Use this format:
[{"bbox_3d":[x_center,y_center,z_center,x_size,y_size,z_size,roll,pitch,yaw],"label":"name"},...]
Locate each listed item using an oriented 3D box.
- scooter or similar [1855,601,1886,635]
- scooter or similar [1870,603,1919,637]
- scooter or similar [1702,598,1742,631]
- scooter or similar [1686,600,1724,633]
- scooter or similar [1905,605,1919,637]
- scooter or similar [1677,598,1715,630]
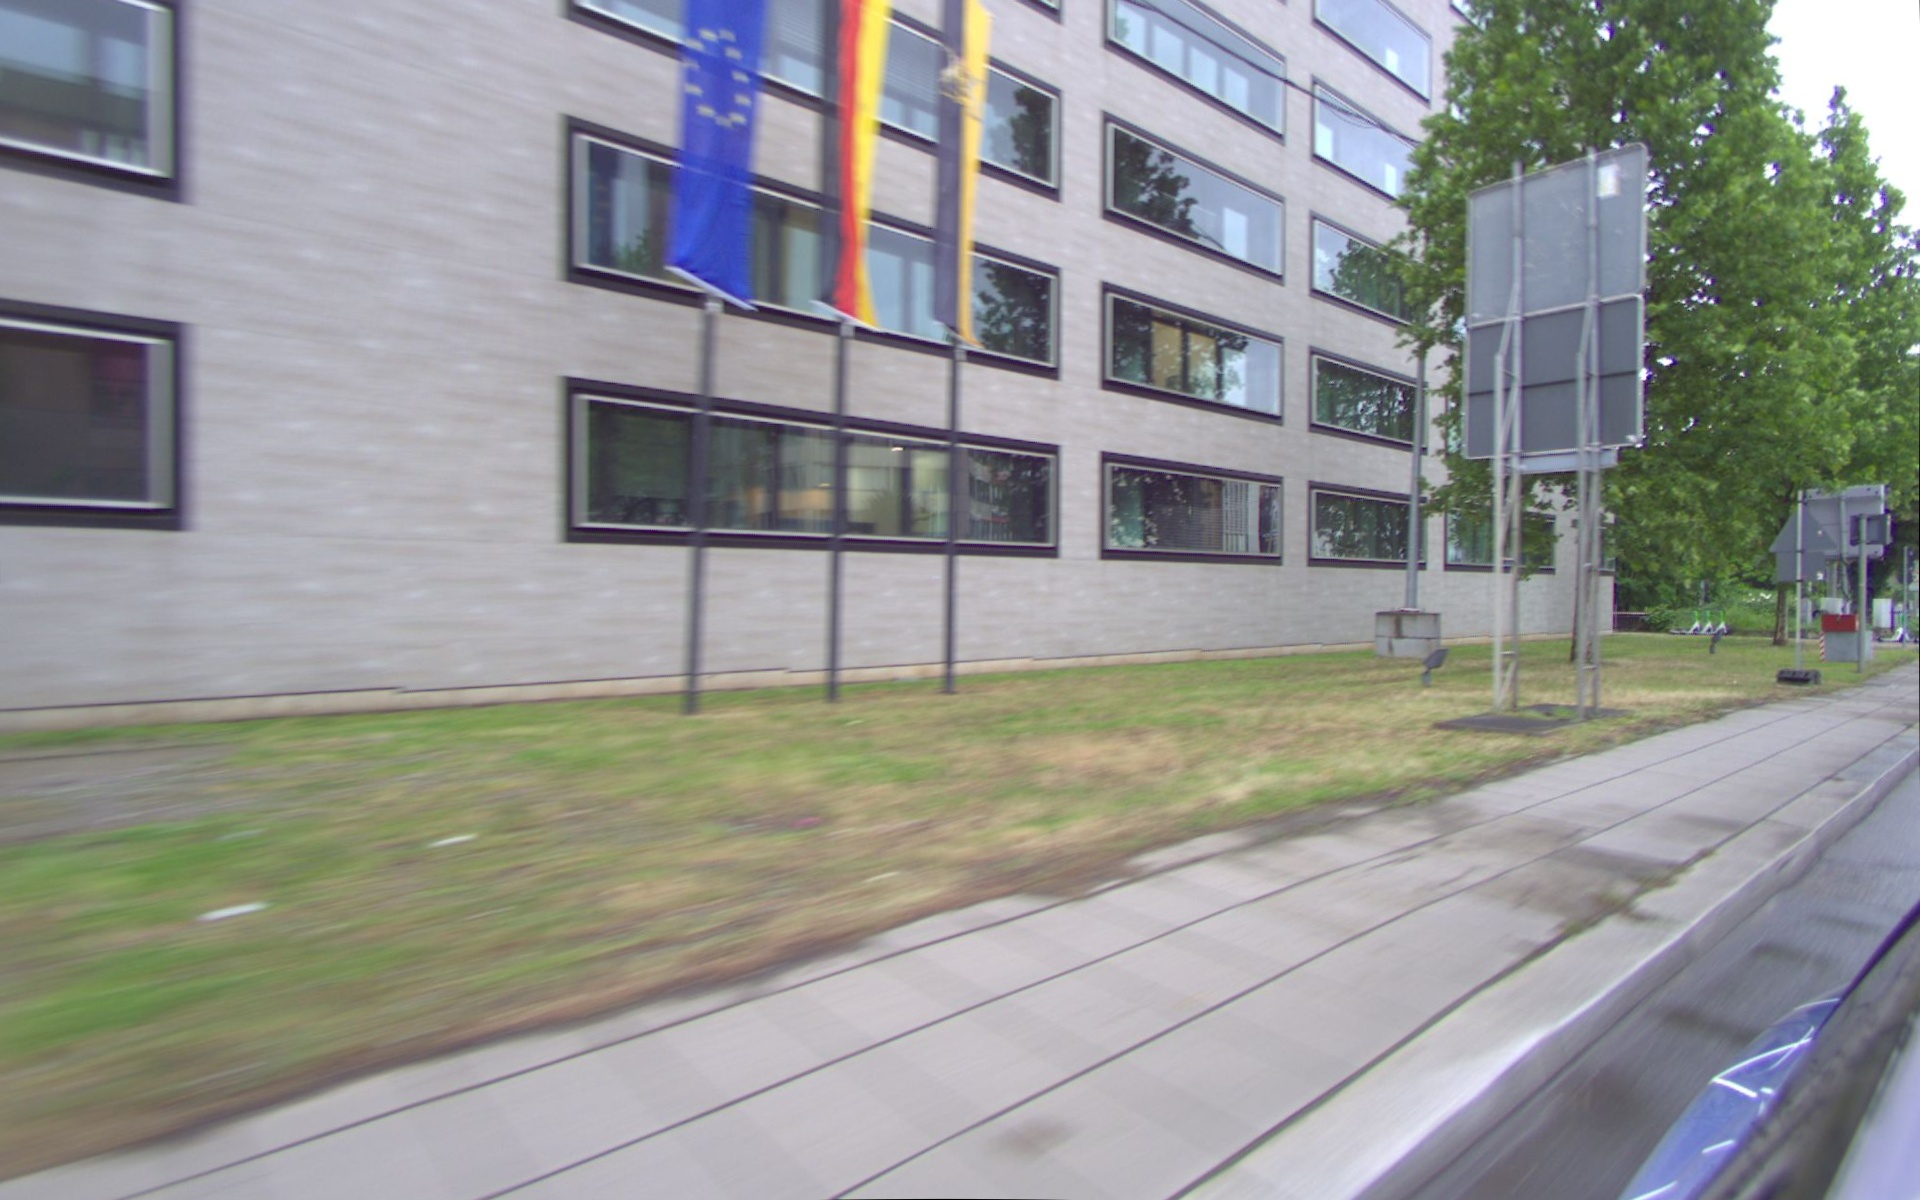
[{"bbox_3d":[33.378,0.635,37.099,1.300,1.216,0.564,0,1,-35],"label":"scooter or similar"},{"bbox_3d":[34.061,0.730,36.821,1.312,1.216,0.690,1,0,-3],"label":"scooter or similar"},{"bbox_3d":[31.264,0.592,41.528,0.545,1.329,1.238,0,1,-43],"label":"scooter or similar"},{"bbox_3d":[31.193,0.691,42.386,0.464,1.329,1.238,0,1,-43],"label":"scooter or similar"},{"bbox_3d":[35.510,0.789,37.202,0.630,1.142,1.581,1,1,23],"label":"scooter or similar"},{"bbox_3d":[31.289,0.577,43.058,0.464,1.329,1.238,0,1,-43],"label":"scooter or similar"}]
